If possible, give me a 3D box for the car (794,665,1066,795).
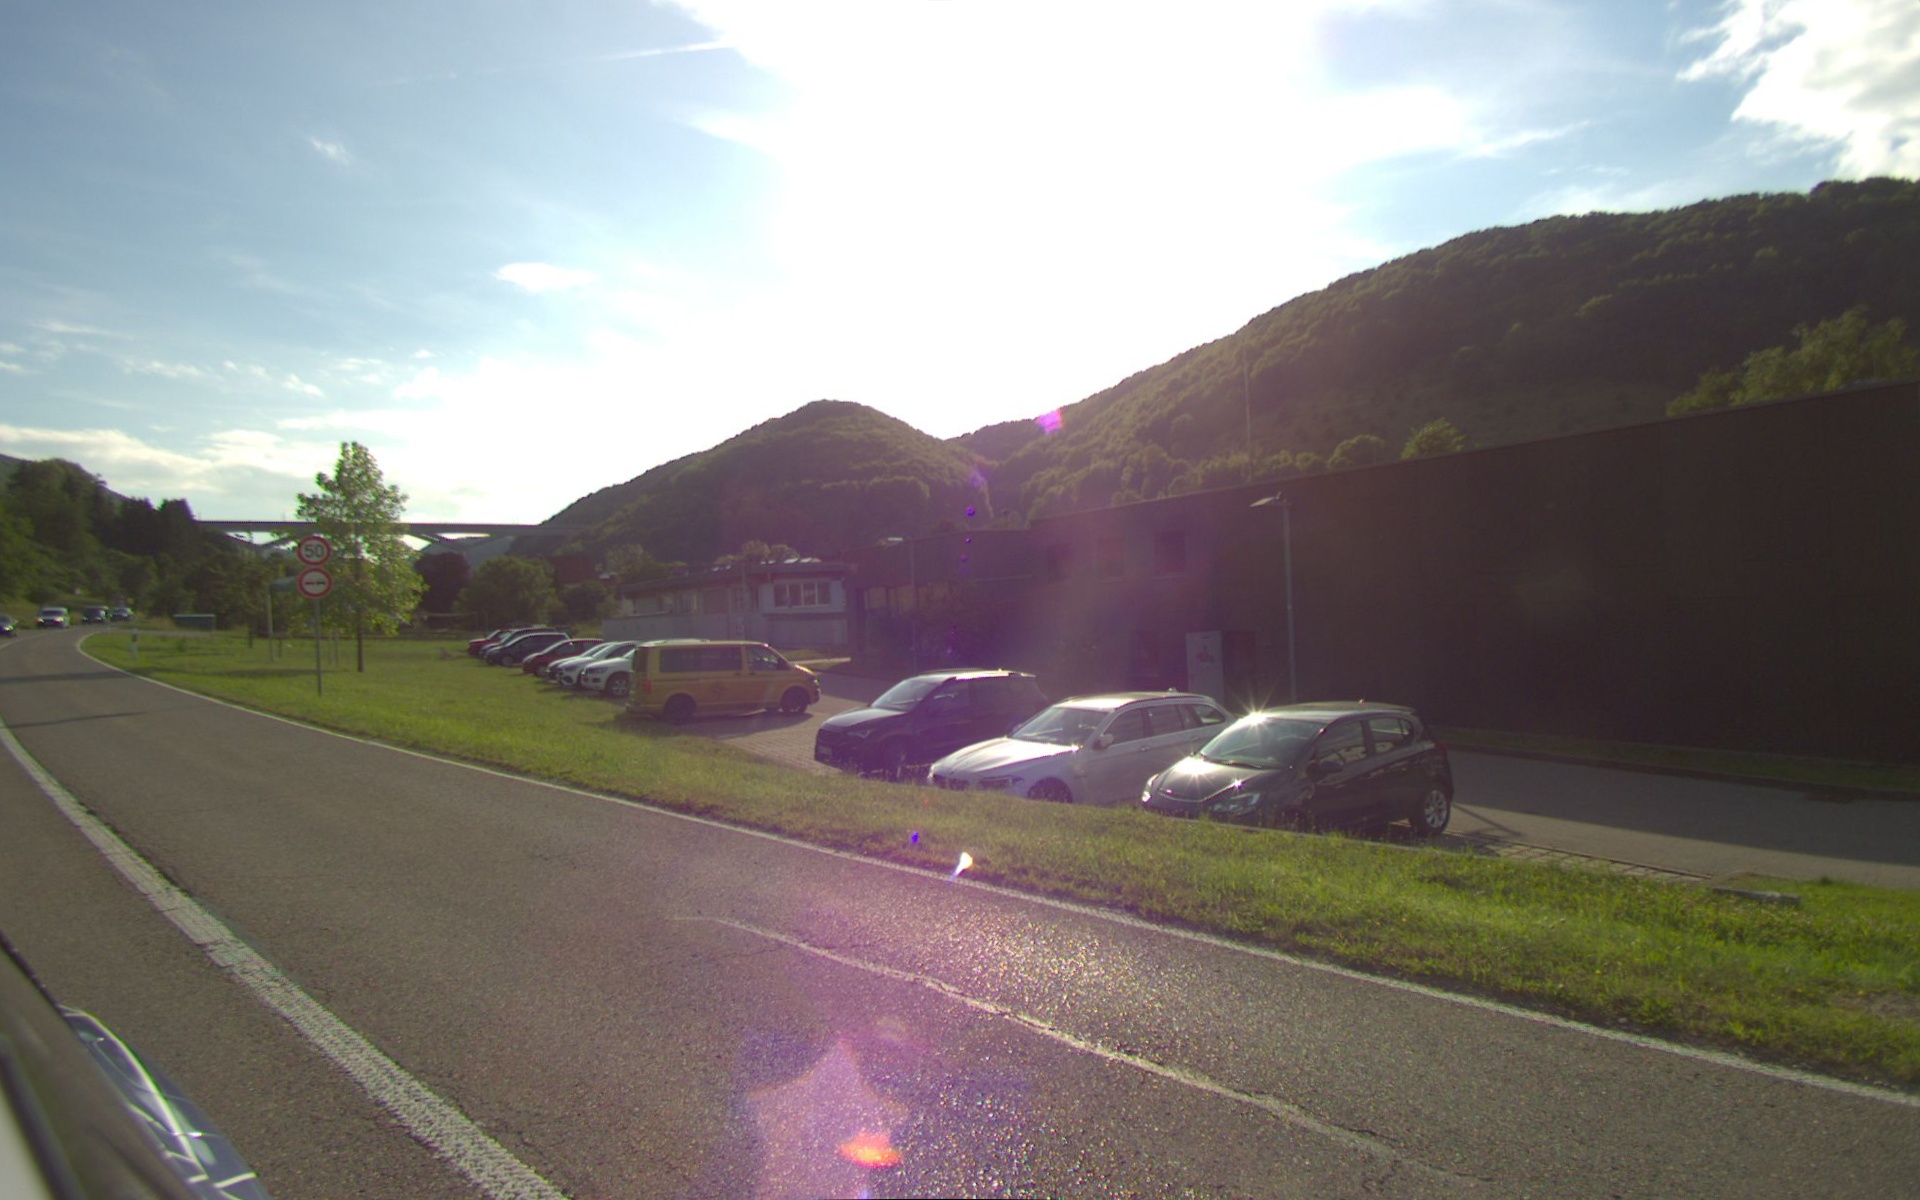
[{"bbox_3d":[-0.449,2.088,17.217,4.226,1.650,1.917,-2,-1,-35],"label":"car"}]

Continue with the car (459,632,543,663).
[{"bbox_3d":[-27.295,2.795,60.235,4.371,1.733,2.006,0,-2,-31],"label":"car"}]

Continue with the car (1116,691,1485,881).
[{"bbox_3d":[3.889,1.933,11.444,3.932,1.546,1.839,0,-2,-31],"label":"car"}]

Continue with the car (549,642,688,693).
[{"bbox_3d":[-12.091,2.346,35.884,4.370,1.599,2.006,0,-2,-30],"label":"car"}]

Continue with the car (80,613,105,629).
[{"bbox_3d":[-92.542,2.252,107.974,1.652,1.659,3.355,-1,-1,-33],"label":"car"}]

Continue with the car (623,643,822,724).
[{"bbox_3d":[-6.039,2.045,25.854,4.583,1.827,2.006,0,-2,-30],"label":"car"}]

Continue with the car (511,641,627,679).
[{"bbox_3d":[-16.594,2.515,43.002,4.370,1.463,2.006,0,-2,-30],"label":"car"}]

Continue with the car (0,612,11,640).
[{"bbox_3d":[-61.038,1.678,63.486,1.884,1.698,4.007,0,-2,-39],"label":"car"}]

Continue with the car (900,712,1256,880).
[{"bbox_3d":[1.655,2.438,13.502,4.577,1.508,1.918,1,-2,-34],"label":"car"}]

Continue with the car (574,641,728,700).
[{"bbox_3d":[-10.069,2.250,33.013,4.477,1.714,2.006,0,-2,-30],"label":"car"}]

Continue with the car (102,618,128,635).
[{"bbox_3d":[-101.076,3.166,121.092,1.967,1.730,4.009,-3,-2,-35],"label":"car"}]

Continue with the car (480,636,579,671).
[{"bbox_3d":[-21.944,2.678,51.627,4.371,1.595,2.006,-1,-1,-31],"label":"car"}]

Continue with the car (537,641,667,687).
[{"bbox_3d":[-13.717,2.396,38.853,4.371,1.595,2.006,1,-2,-32],"label":"car"}]

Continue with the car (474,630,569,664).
[{"bbox_3d":[-24.189,2.557,55.900,4.595,1.776,2.006,0,-2,-31],"label":"car"}]

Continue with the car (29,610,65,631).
[{"bbox_3d":[-79.020,1.794,87.641,1.770,1.749,4.294,-1,-1,-35],"label":"car"}]
